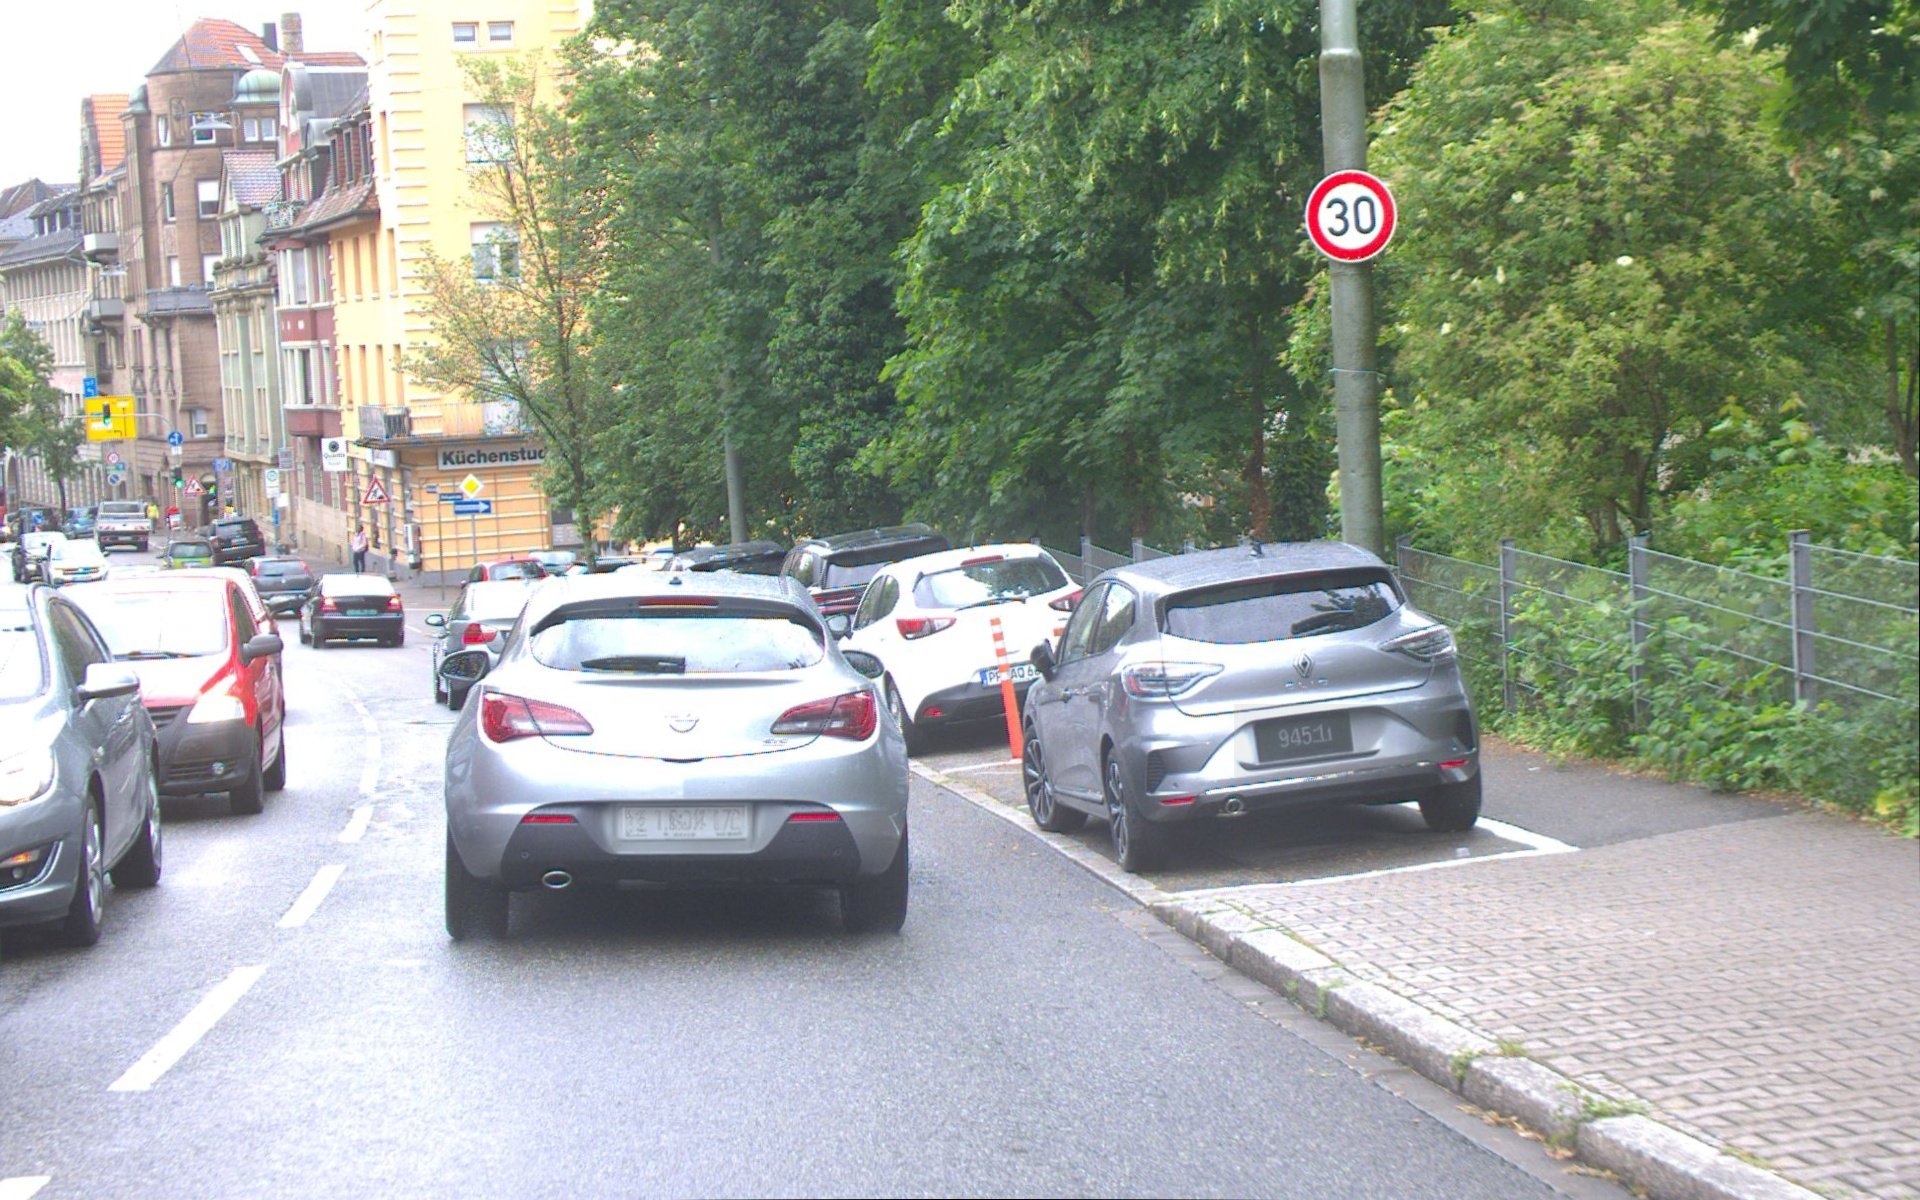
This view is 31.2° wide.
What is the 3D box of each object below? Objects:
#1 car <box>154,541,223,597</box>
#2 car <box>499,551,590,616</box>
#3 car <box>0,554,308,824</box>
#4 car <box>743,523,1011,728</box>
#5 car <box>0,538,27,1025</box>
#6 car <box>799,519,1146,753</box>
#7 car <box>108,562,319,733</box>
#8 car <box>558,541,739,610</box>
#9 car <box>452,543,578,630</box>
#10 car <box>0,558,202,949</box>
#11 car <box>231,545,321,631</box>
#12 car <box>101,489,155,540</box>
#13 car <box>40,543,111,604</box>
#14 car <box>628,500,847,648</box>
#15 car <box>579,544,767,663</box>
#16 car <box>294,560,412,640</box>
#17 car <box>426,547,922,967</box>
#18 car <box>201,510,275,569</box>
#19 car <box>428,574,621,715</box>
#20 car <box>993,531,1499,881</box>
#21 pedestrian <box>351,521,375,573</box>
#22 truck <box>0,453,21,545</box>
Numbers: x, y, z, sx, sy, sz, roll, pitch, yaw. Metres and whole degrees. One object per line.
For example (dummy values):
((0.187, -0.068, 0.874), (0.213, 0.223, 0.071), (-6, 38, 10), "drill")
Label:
((-22.552, -0.900, 100.428), (1.639, 1.531, 3.718), (-3, 1, -17), "car")
((-10.200, -0.428, 84.668), (1.776, 1.425, 3.786), (-1, 2, 0), "car")
((-5.315, 0.509, 22.667), (1.654, 1.563, 4.001), (-2, 1, -7), "car")
((-0.885, 0.189, 32.989), (1.821, 1.677, 4.805), (-5, 2, -9), "car")
((-3.858, 0.646, 9.187), (1.874, 1.569, 4.587), (-2, 1, -6), "car")
((0.012, 0.272, 27.320), (1.815, 1.490, 4.001), (-8, 1, -11), "car")
((-8.005, 0.459, 37.181), (1.845, 1.578, 4.280), (-4, 2, -8), "car")
((-7.066, -0.540, 77.910), (3.772, 1.425, 1.782), (1, -1, -17), "car")
((-8.806, -0.256, 67.790), (1.814, 1.462, 4.001), (-7, 2, -15), "car")
((-4.468, 0.578, 15.229), (1.773, 1.492, 4.264), (-1, 1, -7), "car")
((-16.084, -0.307, 80.757), (1.639, 1.683, 3.719), (-3, 5, -17), "car")
((-32.323, -3.311, 133.521), (1.781, 1.848, 4.001), (-2, 0, -16), "car")
((-25.903, -0.799, 100.762), (1.822, 1.645, 4.001), (-4, 2, -13), "car")
((-2.855, -0.307, 43.136), (1.975, 1.603, 4.486), (-5, 1, -12), "car")
((-4.132, 0.053, 48.869), (1.975, 1.447, 4.115), (-5, 1, -13), "car")
((-11.543, -0.022, 65.269), (1.767, 1.410, 3.718), (-1, 2, -17), "car")
((-1.338, 0.552, 14.885), (1.814, 1.425, 4.001), (-2, 2, -8), "car")
((-24.523, -2.050, 116.623), (1.993, 1.683, 4.001), (-8, 2, -15), "car")
((-4.871, 0.460, 38.086), (1.775, 1.425, 3.786), (-2, 0, -12), "car")
((1.302, 0.451, 17.244), (1.649, 1.400, 3.814), (-6, 1, -7), "car")
((-17.504, -1.558, 100.773), (0.613, 1.491, 0.553), (-3, 4, -14), "pedestrian")
((-46.255, -4.798, 162.463), (2.788, 4.118, 10.856), (-3, 4, -19), "truck")
